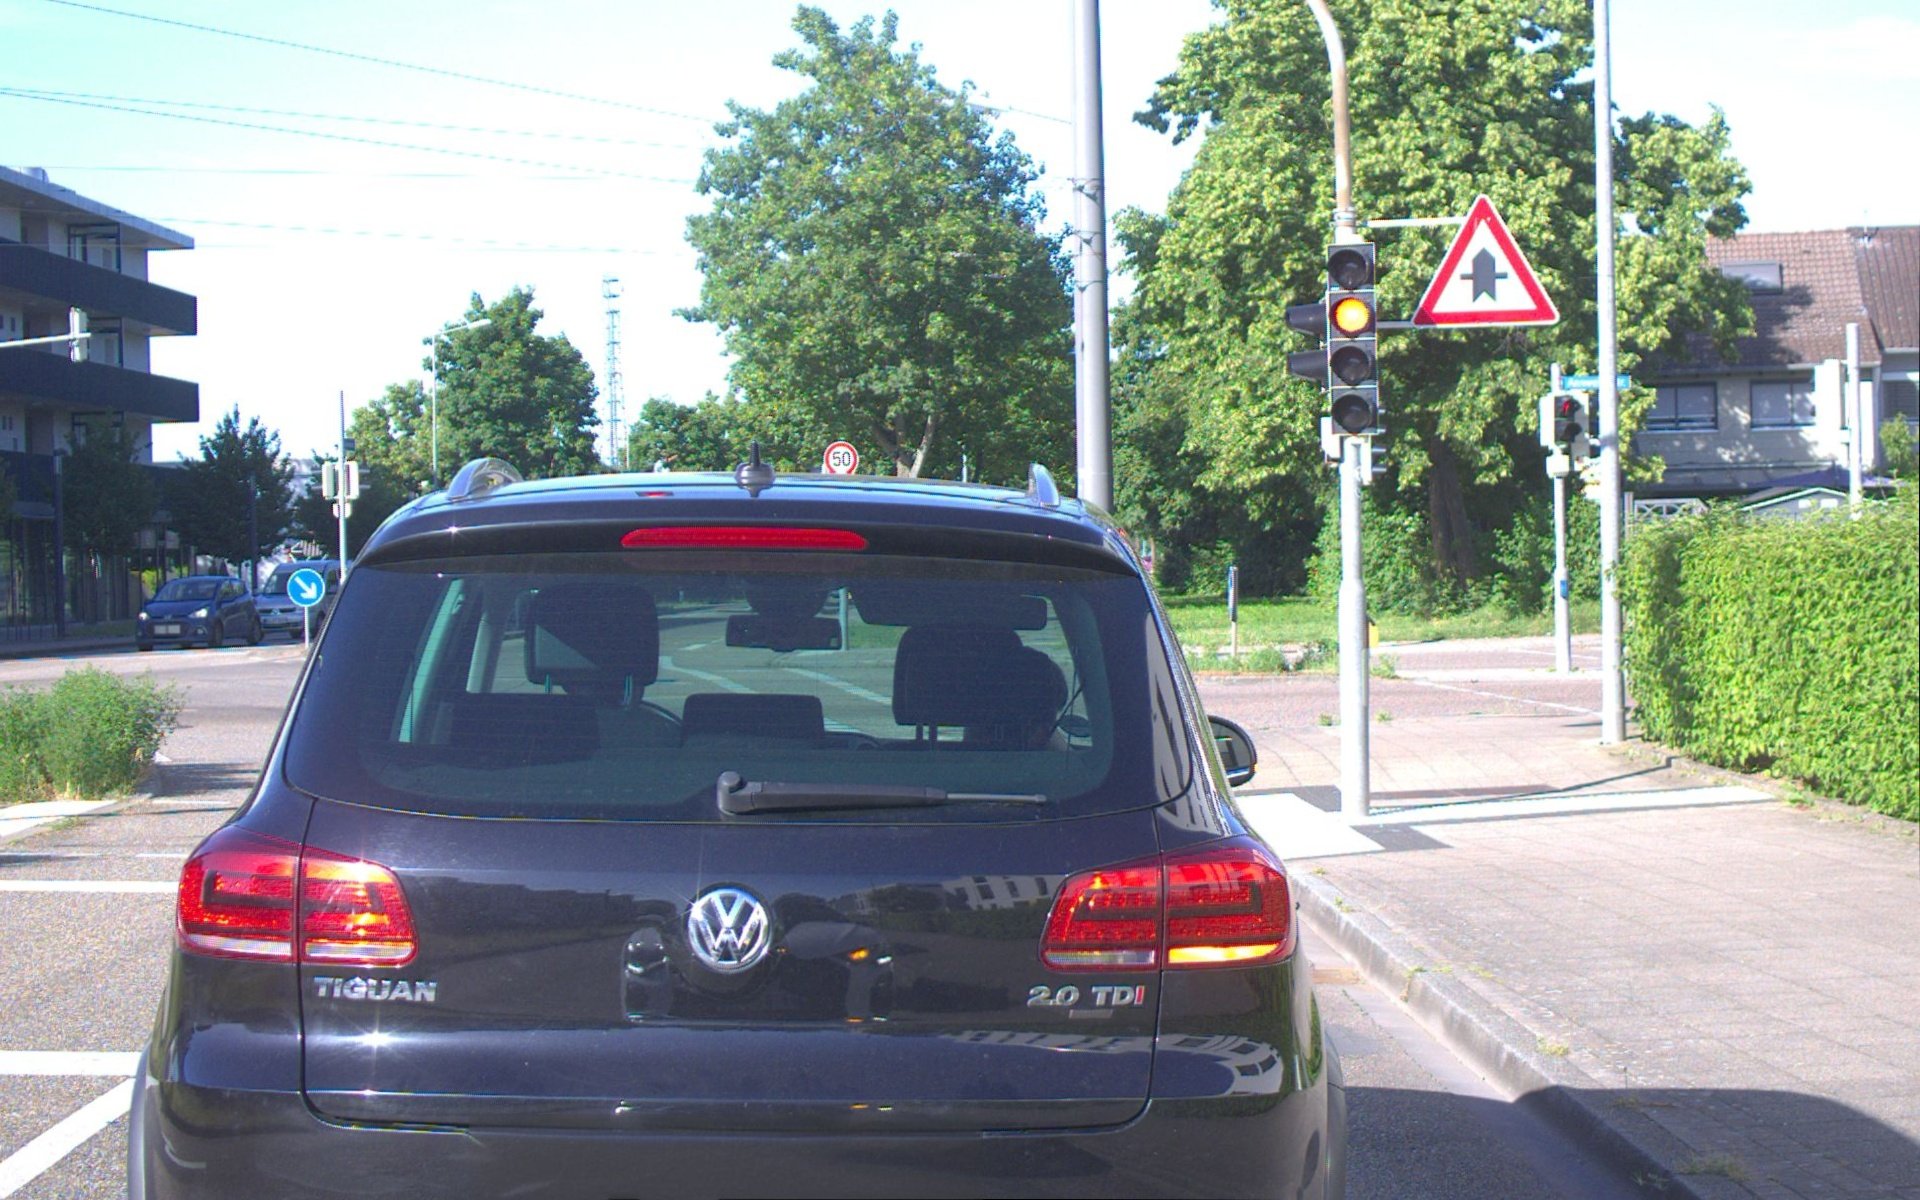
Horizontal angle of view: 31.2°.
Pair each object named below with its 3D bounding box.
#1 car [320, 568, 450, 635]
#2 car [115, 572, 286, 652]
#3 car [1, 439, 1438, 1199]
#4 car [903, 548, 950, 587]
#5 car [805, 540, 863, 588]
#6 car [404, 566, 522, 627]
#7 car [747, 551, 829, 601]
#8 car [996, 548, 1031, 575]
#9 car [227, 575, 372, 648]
[{"bbox_3d":[-14.182,0.015,85.053,1.994,1.569,4.338,1,1,7],"label":"car"},{"bbox_3d":[-15.740,0.225,71.494,1.994,1.569,4.337,1,1,9],"label":"car"},{"bbox_3d":[-0.342,0.598,6.506,1.869,1.632,4.000,1,1,-1],"label":"car"},{"bbox_3d":[-1.569,-1.542,163.537,1.994,1.830,4.000,1,1,3],"label":"car"},{"bbox_3d":[-4.626,-1.325,126.690,1.864,1.714,3.687,-1,1,1],"label":"car"},{"bbox_3d":[-13.130,-0.110,91.043,1.994,1.569,4.338,1,1,7],"label":"car"},{"bbox_3d":[-5.346,-0.765,107.253,1.864,1.480,4.109,-1,1,7],"label":"car"},{"bbox_3d":[3.373,-2.445,217.688,1.993,1.678,4.000,1,1,-2],"label":"car"},{"bbox_3d":[-14.983,0.233,78.214,1.994,1.569,4.338,1,1,7],"label":"car"}]
